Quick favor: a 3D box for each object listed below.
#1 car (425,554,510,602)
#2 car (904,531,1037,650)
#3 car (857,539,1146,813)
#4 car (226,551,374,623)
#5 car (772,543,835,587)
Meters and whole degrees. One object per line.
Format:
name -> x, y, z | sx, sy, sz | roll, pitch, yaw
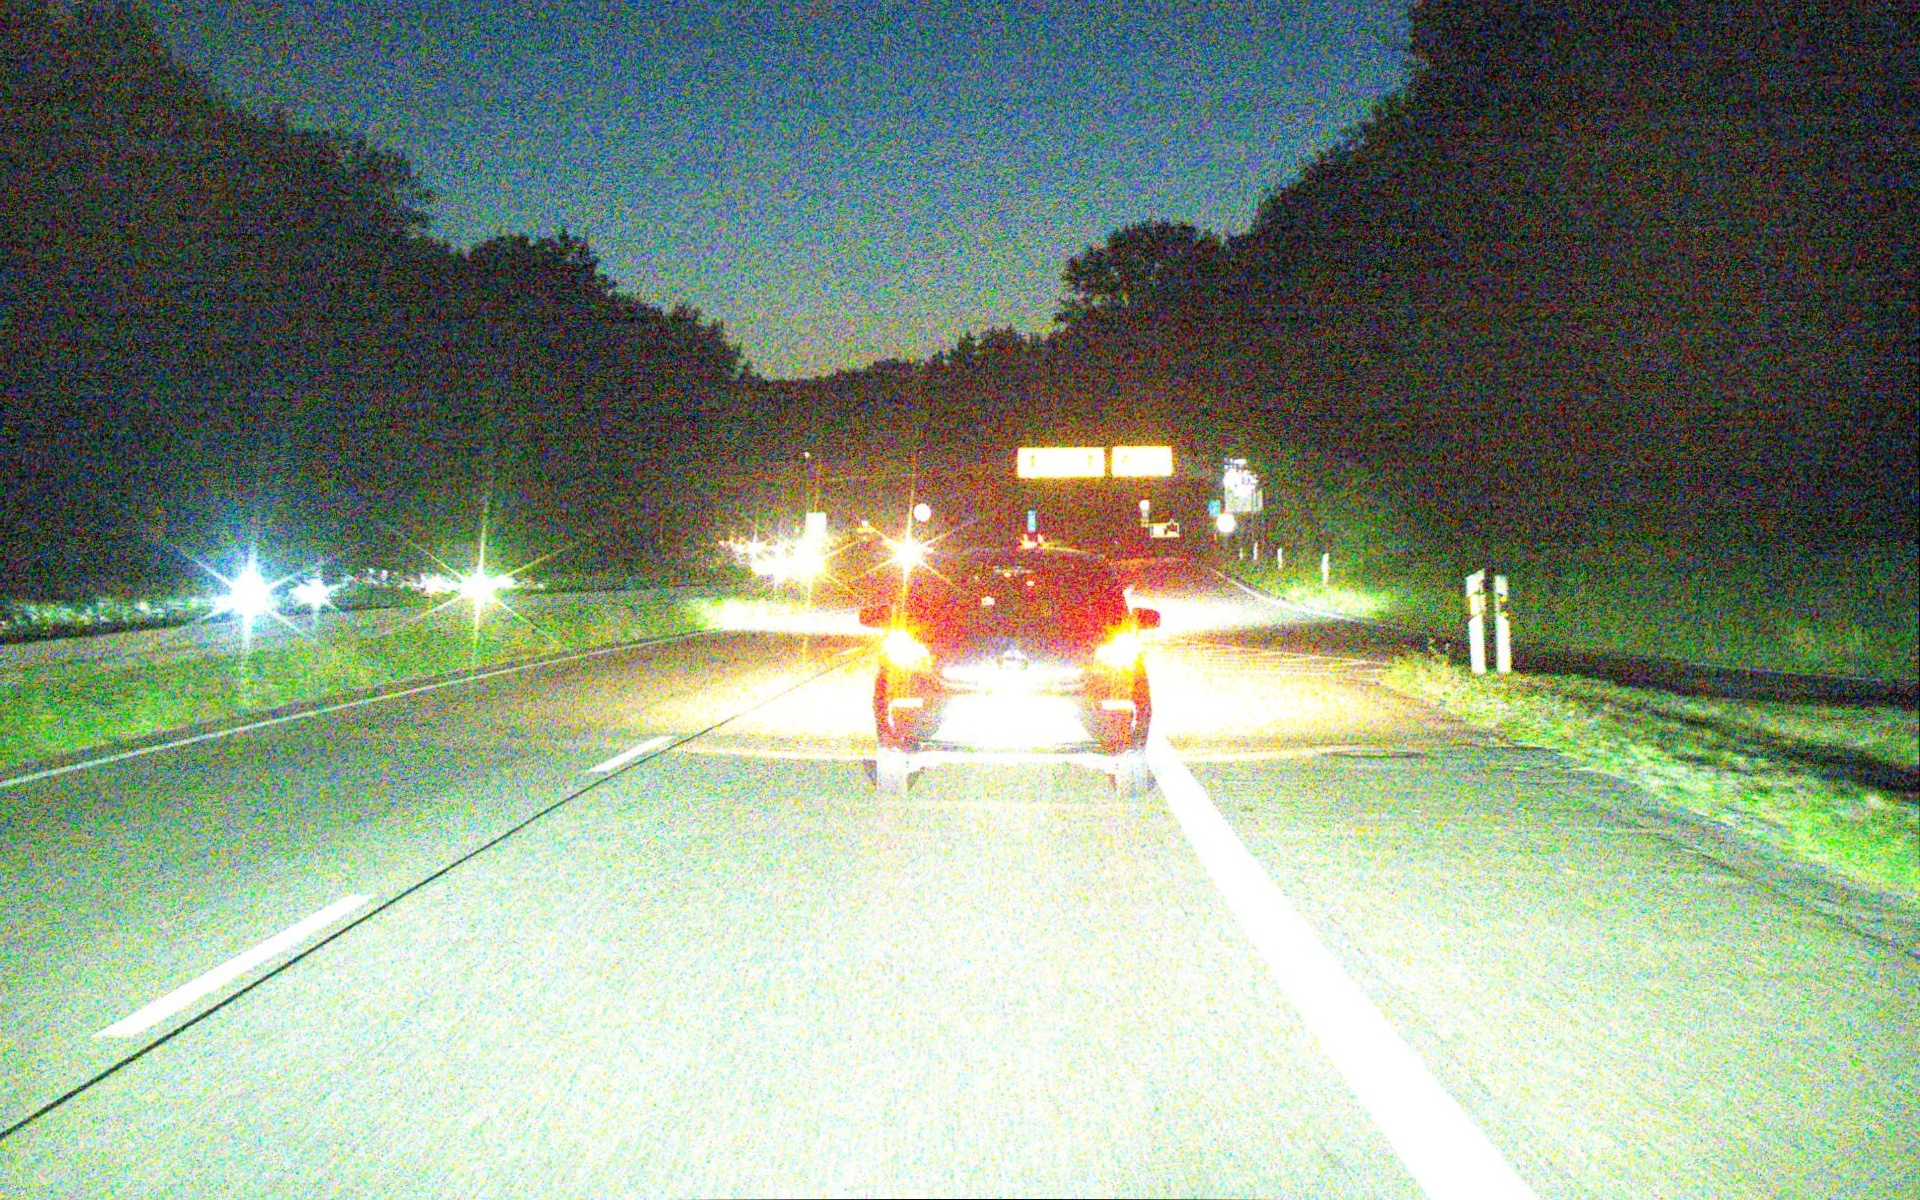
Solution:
car -> -15.036, -0.681, 105.169 | 1.771, 1.406, 4.844 | 0, 1, 2
car -> 0.191, -0.182, 51.292 | 1.906, 1.692, 4.000 | 0, 1, 1
car -> 0.282, 0.395, 21.323 | 1.588, 1.503, 4.000 | 1, 1, 1
car -> -14.245, -0.304, 74.473 | 1.958, 1.452, 4.470 | -2, 1, 5
car -> -6.490, -1.465, 142.787 | 1.958, 1.727, 5.079 | -2, 1, 4
